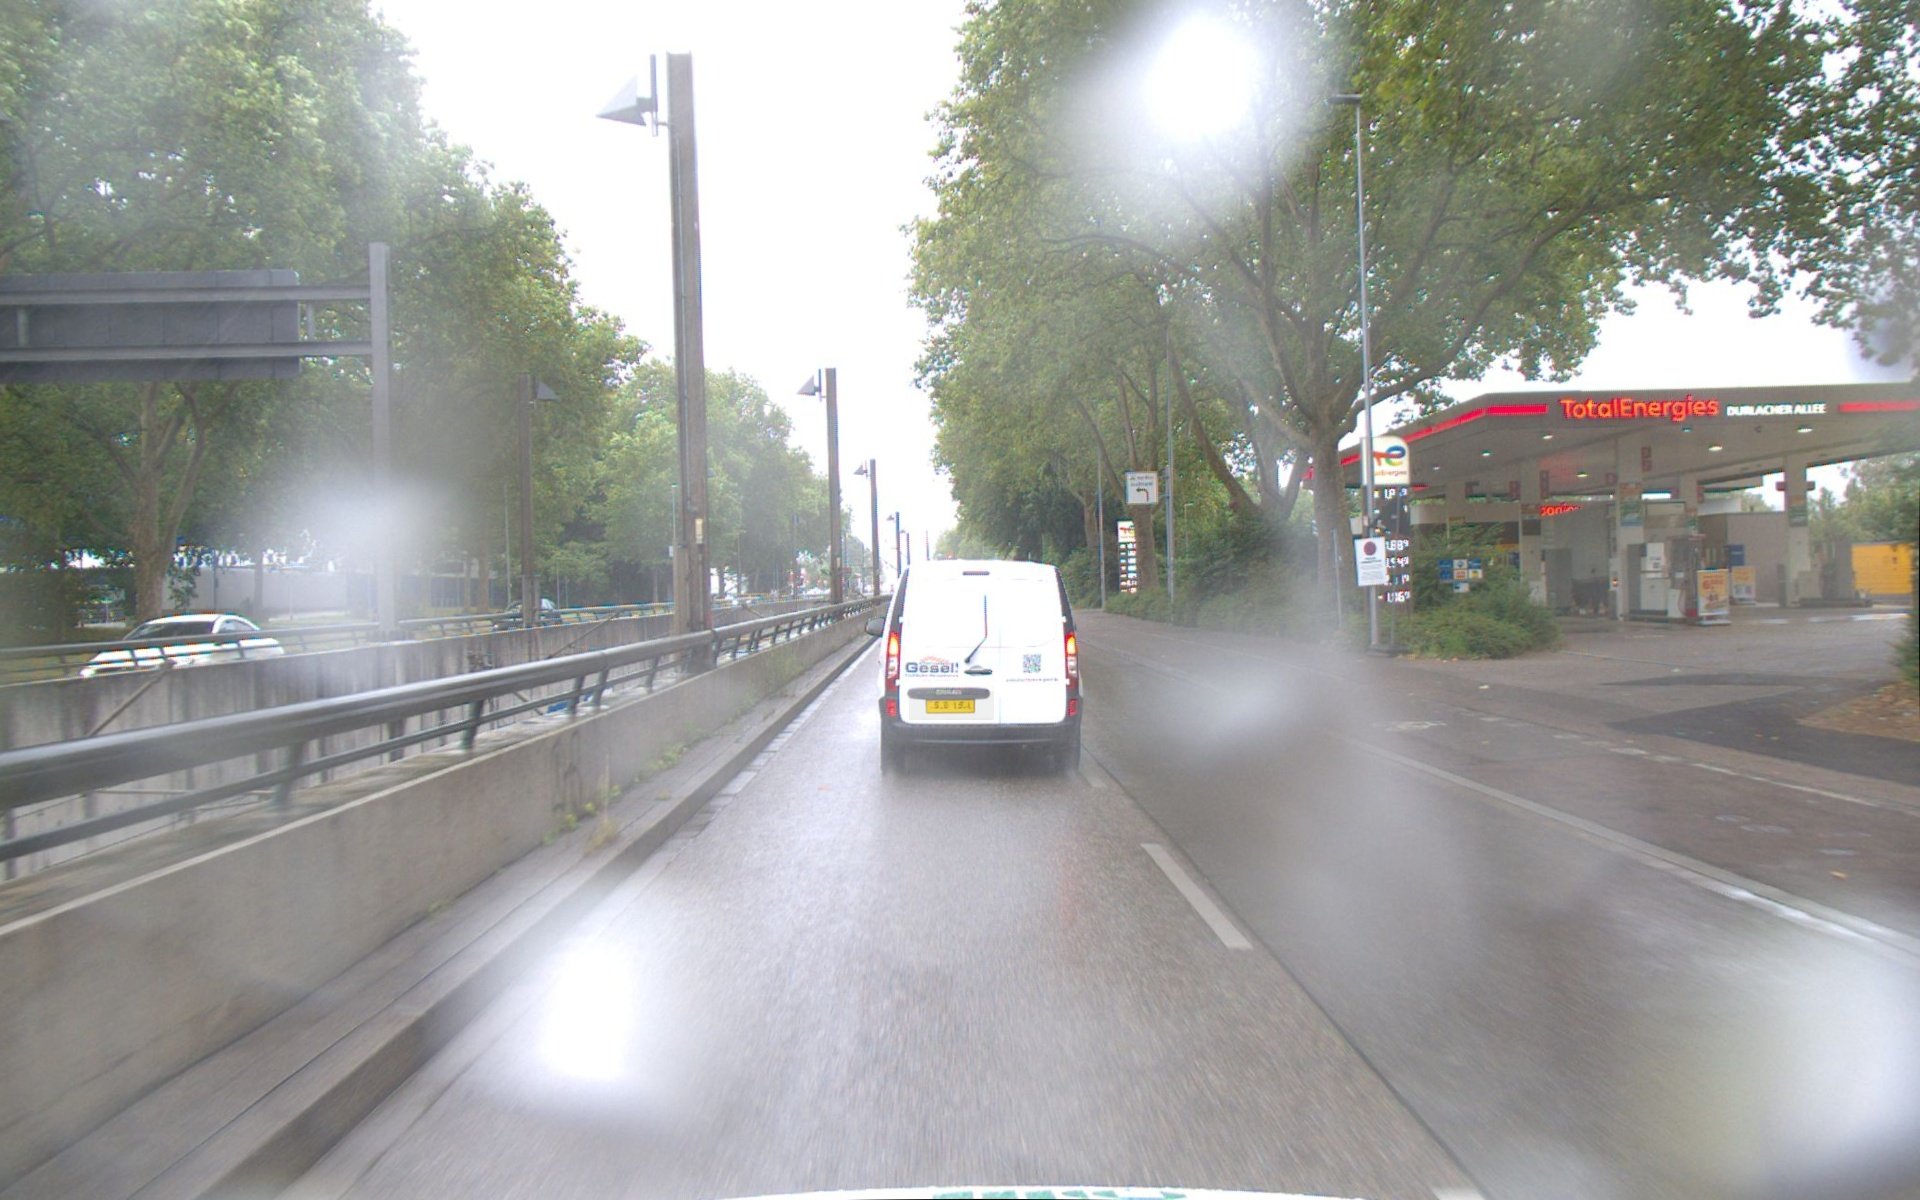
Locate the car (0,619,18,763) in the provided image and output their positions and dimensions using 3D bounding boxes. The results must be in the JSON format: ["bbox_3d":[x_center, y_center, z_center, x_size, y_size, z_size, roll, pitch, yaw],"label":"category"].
[{"bbox_3d":[-12.077,1.082,17.399,1.953,1.661,4.088,-2,0,0],"label":"car"}]

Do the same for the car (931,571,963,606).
[{"bbox_3d":[-0.852,-0.743,109.836,2.006,2.177,4.000,-1,0,0],"label":"car"}]

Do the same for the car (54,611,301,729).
[{"bbox_3d":[-12.567,1.061,26.927,1.954,1.661,4.578,-2,0,-2],"label":"car"}]

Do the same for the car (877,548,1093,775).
[{"bbox_3d":[0.133,0.476,15.179,1.720,1.808,3.999,0,0,-2],"label":"car"}]

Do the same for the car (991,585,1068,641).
[{"bbox_3d":[2.118,0.401,51.628,1.954,1.612,3.997,-2,0,-4],"label":"car"}]

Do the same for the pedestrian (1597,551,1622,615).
[{"bbox_3d":[18.047,-0.473,45.971,0.542,1.755,0.726,-2,0,18],"label":"pedestrian"}]

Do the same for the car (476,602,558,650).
[{"bbox_3d":[-16.220,0.935,60.749,1.868,1.598,4.000,-2,1,0],"label":"car"}]
